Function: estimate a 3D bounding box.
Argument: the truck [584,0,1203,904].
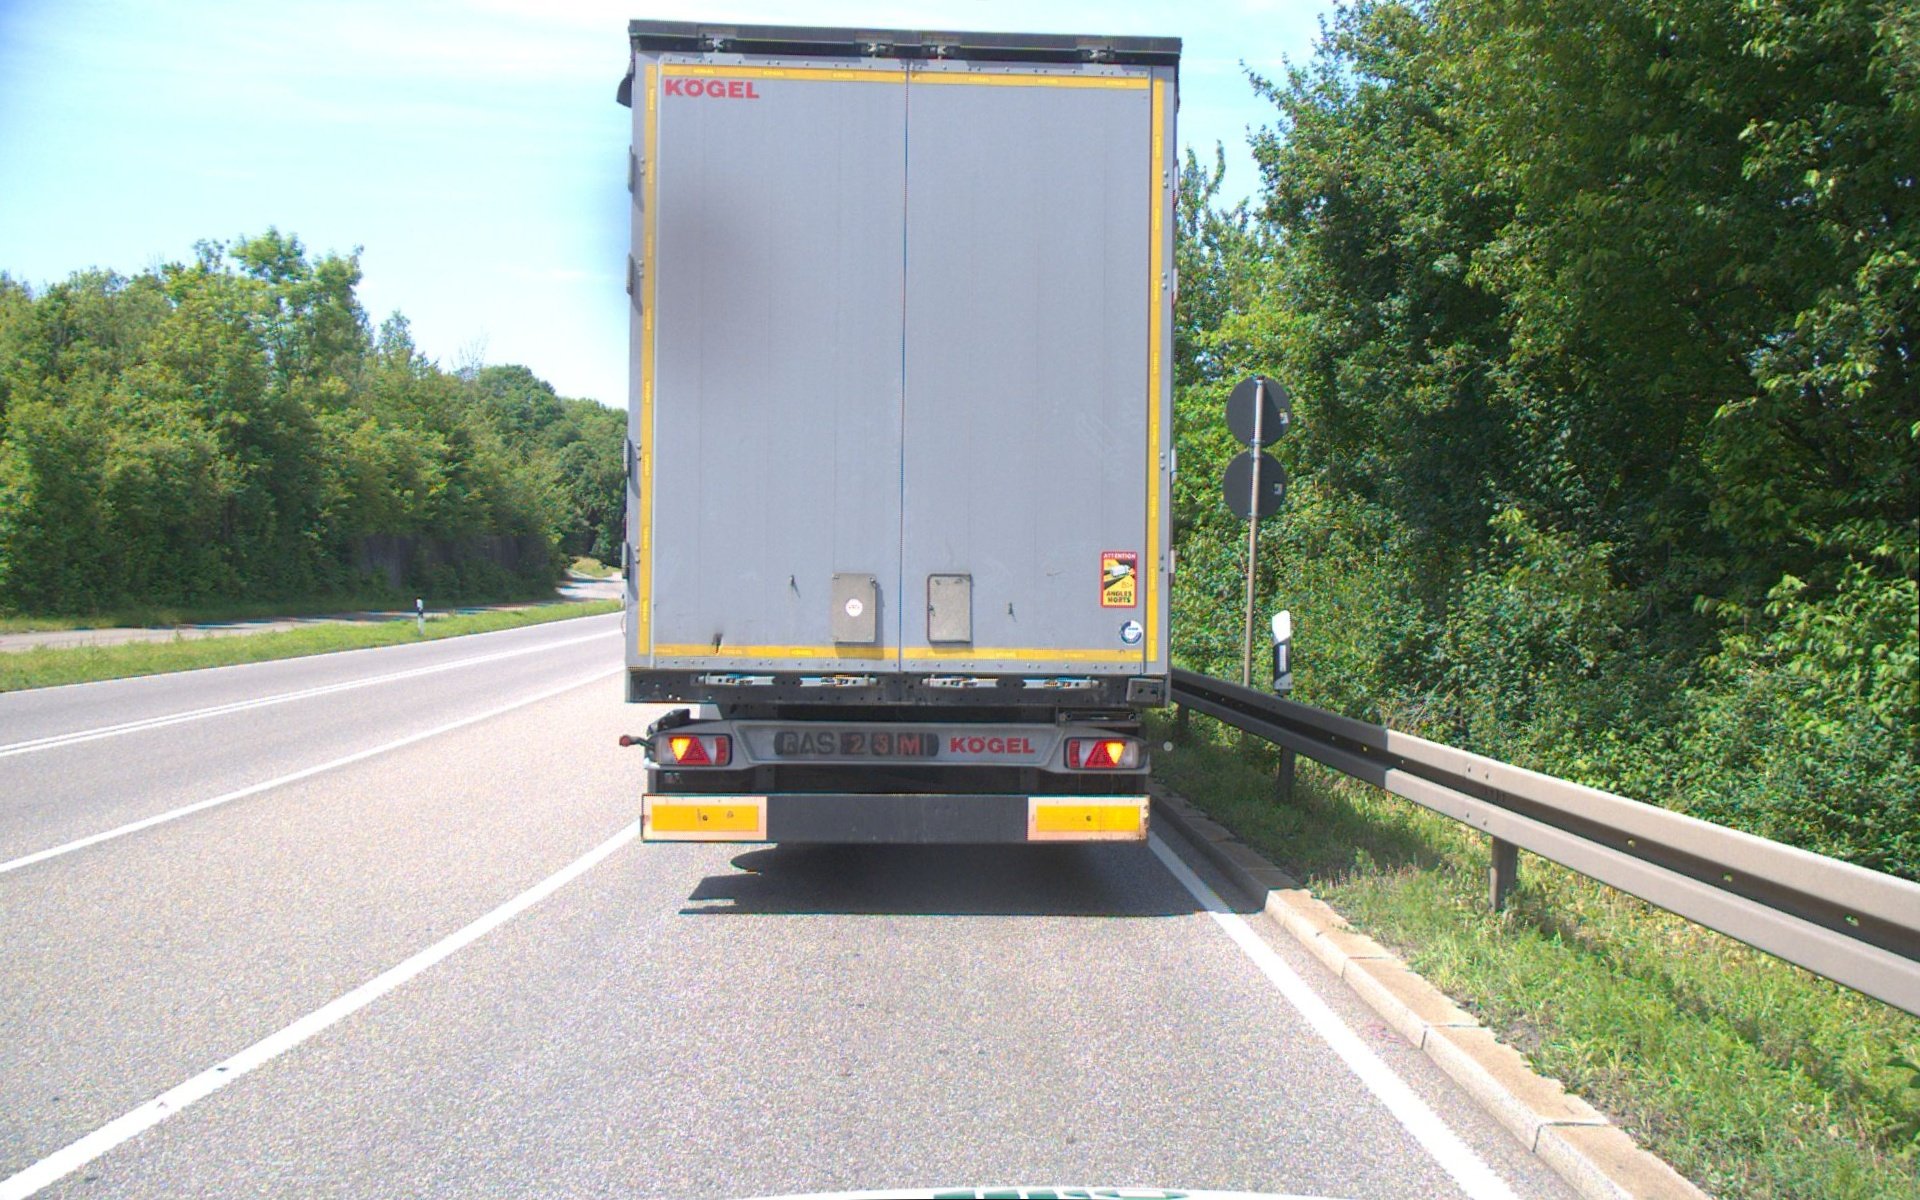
[{"bbox_3d":[-0.439,-0.759,13.258,2.701,4.100,11.920,0,0,-2],"label":"truck"}]
